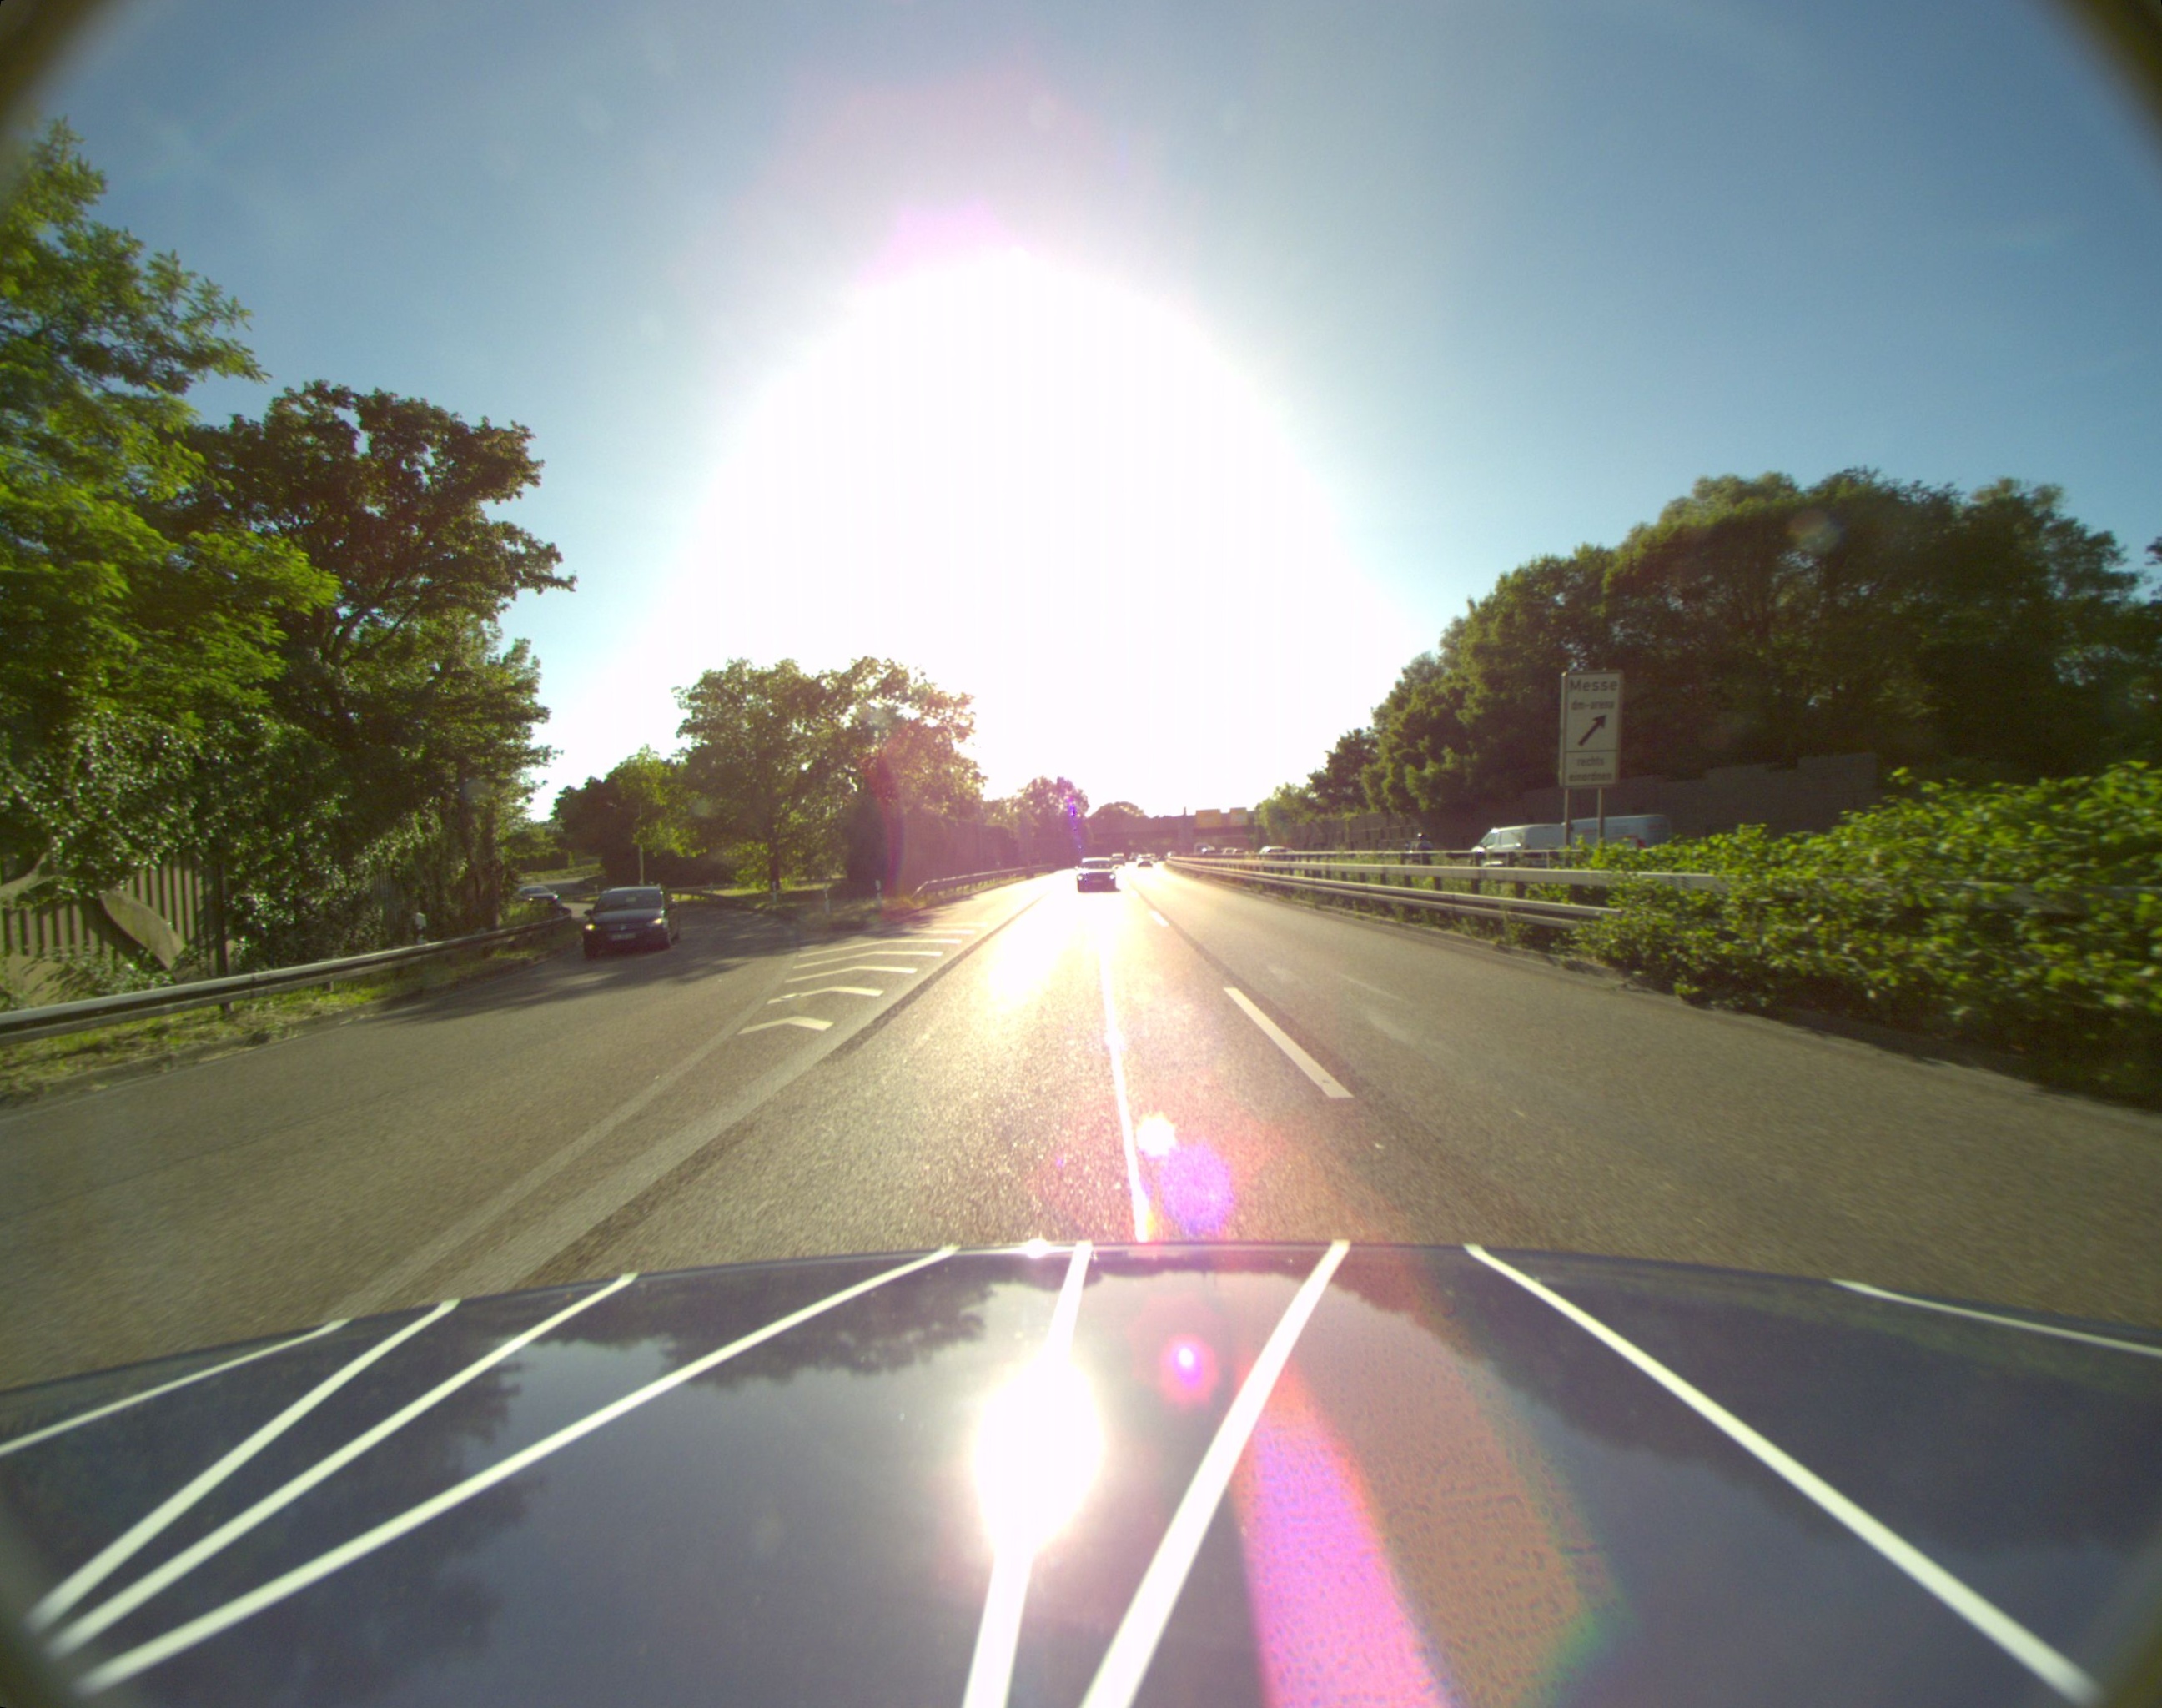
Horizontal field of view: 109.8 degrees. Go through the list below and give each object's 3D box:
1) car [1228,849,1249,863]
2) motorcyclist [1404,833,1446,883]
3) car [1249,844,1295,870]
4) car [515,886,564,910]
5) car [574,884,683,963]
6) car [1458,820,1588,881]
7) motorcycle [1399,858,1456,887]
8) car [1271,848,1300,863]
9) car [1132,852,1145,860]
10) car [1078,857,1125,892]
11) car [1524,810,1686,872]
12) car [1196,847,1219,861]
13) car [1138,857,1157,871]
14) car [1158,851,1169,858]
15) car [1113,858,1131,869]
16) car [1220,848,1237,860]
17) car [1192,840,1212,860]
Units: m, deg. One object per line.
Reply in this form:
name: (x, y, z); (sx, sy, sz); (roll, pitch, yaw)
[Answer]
car: (20.436, 0.300, 98.923); (1.906, 1.610, 4.697); (-5, -1, 3)
motorcyclist: (11.761, 0.124, 26.001); (0.824, 1.616, 1.046); (-5, 0, 1)
car: (12.637, 0.226, 50.606); (1.826, 1.471, 4.622); (-5, -1, 1)
car: (-35.954, 2.917, 50.393); (3.990, 1.277, 1.646); (-5, -1, 40)
car: (-11.401, 1.672, 19.407); (1.749, 1.652, 3.994); (-5, -1, -23)
car: (15.259, -0.093, 26.590); (1.826, 1.810, 4.622); (-5, -1, 2)
motorcycle: (11.821, 0.617, 26.026); (0.813, 0.887, 2.474); (-5, -1, 1)
car: (21.564, 0.199, 80.371); (1.998, 1.379, 4.029); (-5, -1, 2)
car: (11.049, 0.320, 144.858); (1.997, 1.406, 4.834); (-4, 0, 9)
car: (1.006, 0.902, 35.442); (1.998, 1.406, 4.831); (-2, 0, 3)
car: (22.511, -0.479, 32.959); (2.085, 2.267, 5.366); (-5, -1, -23)
car: (14.491, 0.007, 87.431); (1.998, 1.569, 4.248); (-2, -1, 2)
car: (7.553, 1.119, 86.872); (1.998, 1.406, 4.832); (-3, 0, 4)
car: (16.691, 0.088, 153.124); (1.997, 1.406, 4.834); (-4, 0, 8)
car: (5.549, 1.259, 102.815); (1.997, 1.406, 4.833); (-4, 0, 7)
car: (22.726, -0.016, 117.453); (1.998, 1.586, 4.623); (-5, -1, 5)
car: (17.733, -0.506, 111.687); (2.126, 2.667, 6.590); (-5, -1, 5)
